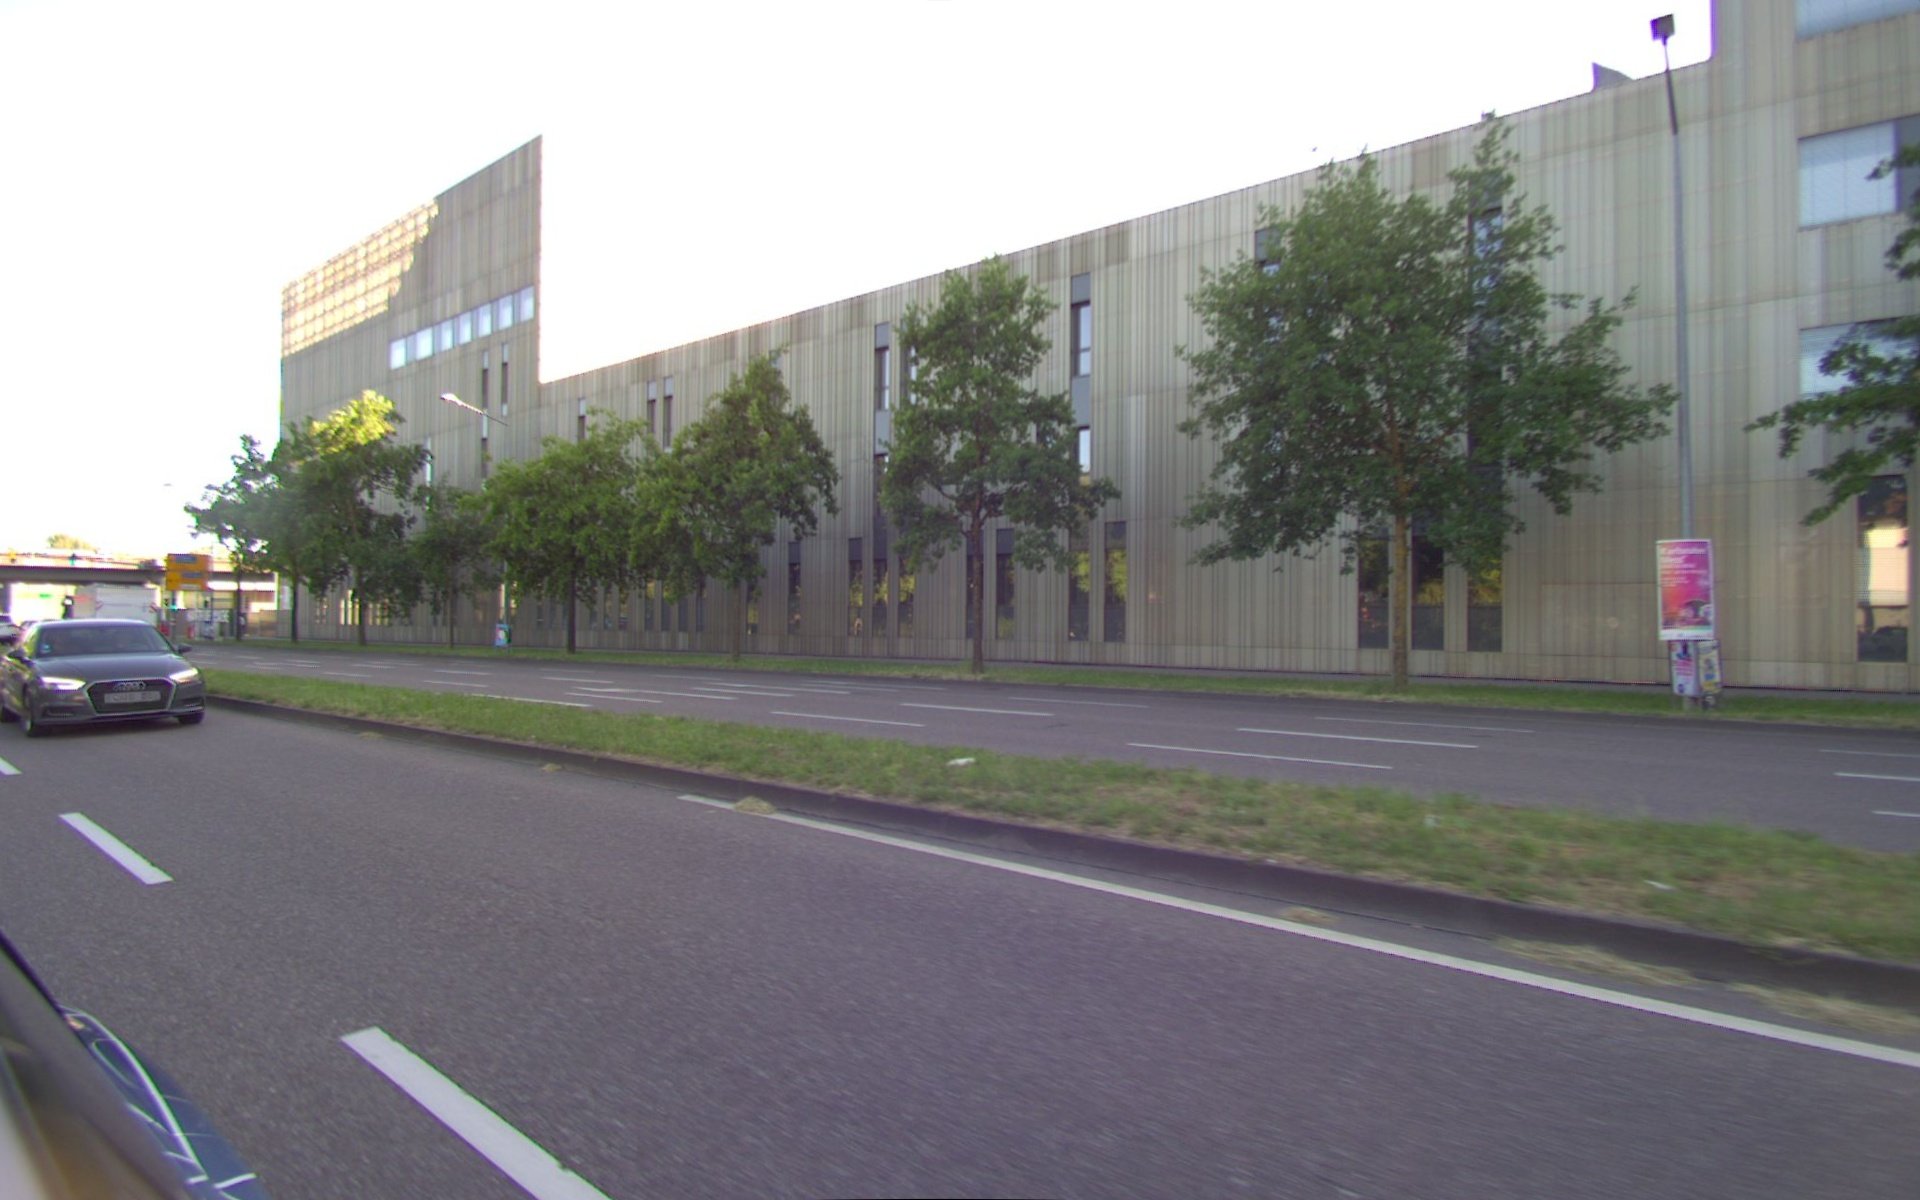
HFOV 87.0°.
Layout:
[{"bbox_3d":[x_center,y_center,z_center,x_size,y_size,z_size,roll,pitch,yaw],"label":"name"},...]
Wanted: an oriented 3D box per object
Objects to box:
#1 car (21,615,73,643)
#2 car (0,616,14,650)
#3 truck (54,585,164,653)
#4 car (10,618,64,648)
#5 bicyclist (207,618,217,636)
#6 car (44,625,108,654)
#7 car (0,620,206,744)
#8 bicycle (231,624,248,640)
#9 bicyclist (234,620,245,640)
[{"bbox_3d":[-50.826,1.614,56.324,3.637,1.481,1.604,-1,-3,40],"label":"car"},{"bbox_3d":[-51.089,1.690,52.823,4.654,1.695,1.806,-1,-3,39],"label":"car"},{"bbox_3d":[-39.915,0.928,47.373,7.108,2.983,2.659,-1,-3,40],"label":"truck"},{"bbox_3d":[-54.644,1.926,59.886,3.997,1.669,1.822,0,-2,40],"label":"car"},{"bbox_3d":[-59.777,2.180,80.884,0.752,1.453,0.502,-1,-2,39],"label":"bicyclist"},{"bbox_3d":[-45.557,2.045,52.122,3.996,1.435,1.817,-2,-3,39],"label":"car"},{"bbox_3d":[-11.851,0.976,13.631,4.360,1.415,1.681,-1,-1,39],"label":"car"},{"bbox_3d":[-57.725,2.559,81.061,2.097,1.280,0.507,-1,-2,39],"label":"bicycle"},{"bbox_3d":[-57.674,2.400,81.027,0.644,1.518,0.502,-1,-2,38],"label":"bicyclist"}]
